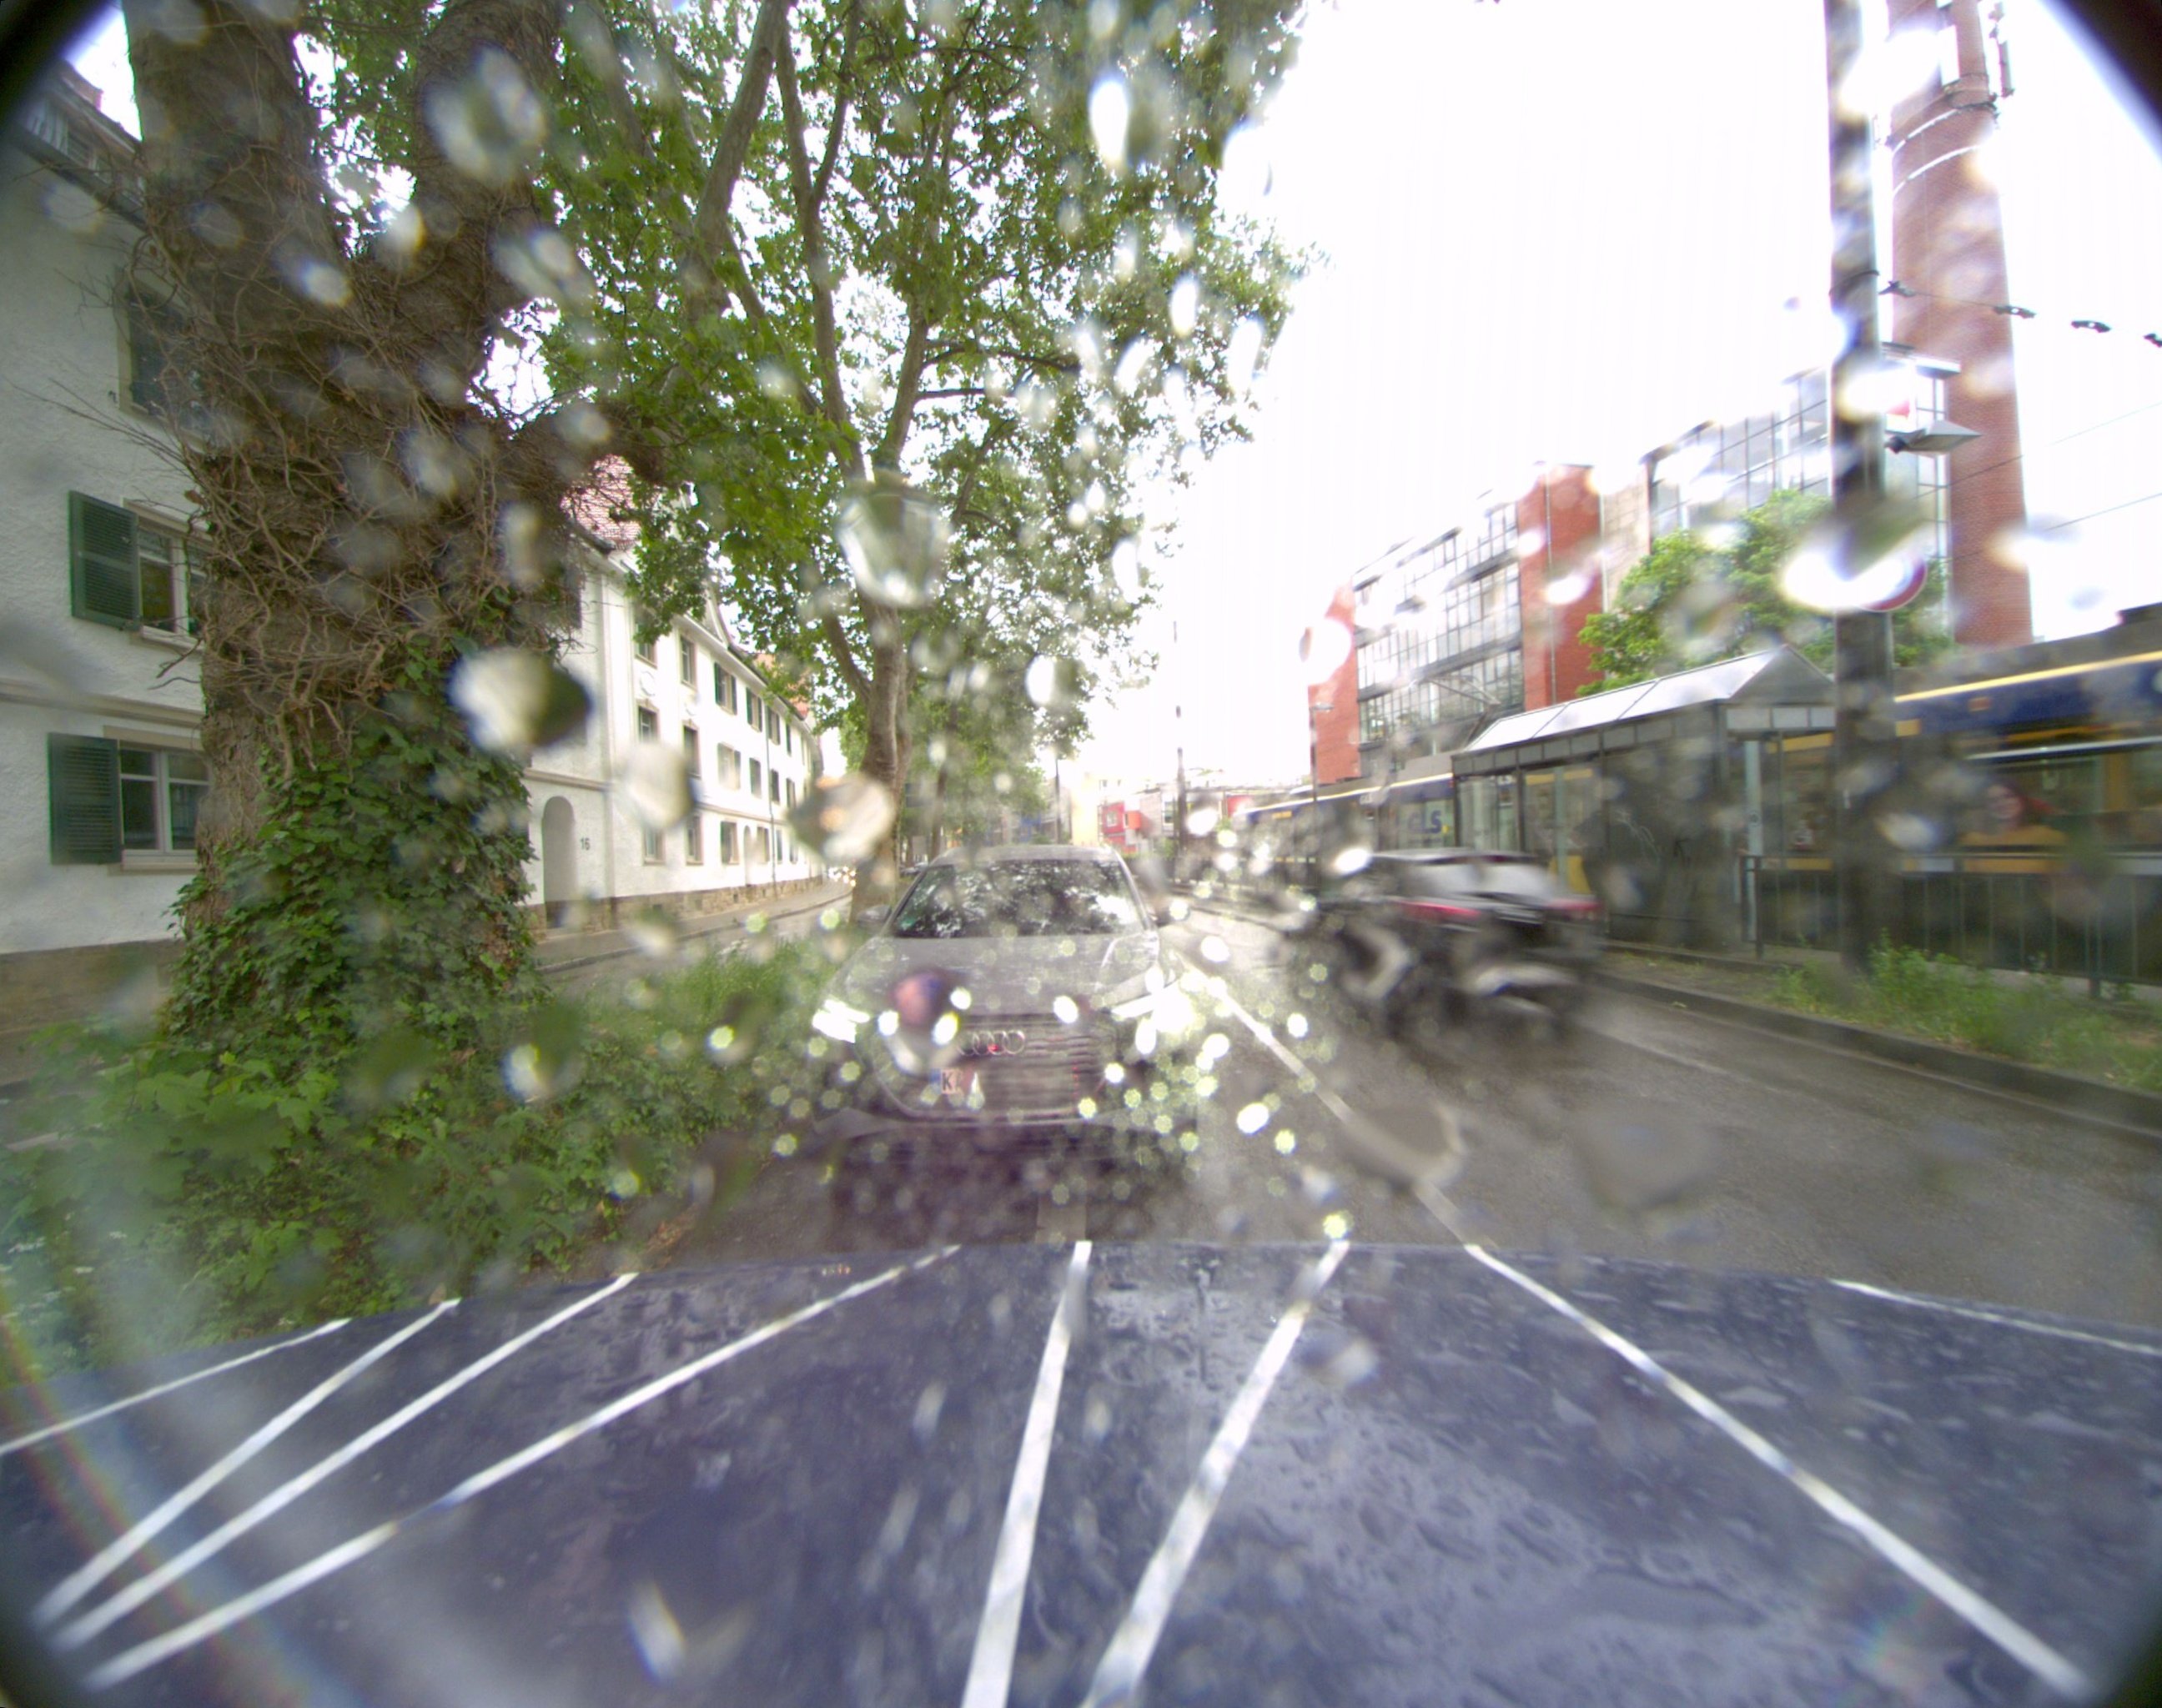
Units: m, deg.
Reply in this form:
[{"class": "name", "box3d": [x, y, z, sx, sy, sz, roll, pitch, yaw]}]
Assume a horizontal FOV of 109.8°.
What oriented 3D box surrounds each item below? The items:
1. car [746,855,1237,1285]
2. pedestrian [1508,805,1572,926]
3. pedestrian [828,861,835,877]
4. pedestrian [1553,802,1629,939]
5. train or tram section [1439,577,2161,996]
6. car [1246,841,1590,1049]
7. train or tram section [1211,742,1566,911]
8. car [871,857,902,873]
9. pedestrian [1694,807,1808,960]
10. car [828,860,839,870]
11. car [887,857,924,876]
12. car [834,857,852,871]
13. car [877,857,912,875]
[{"class": "car", "box3d": [-0.413, 0.871, 5.129, 1.917, 1.632, 4.106, -2, 0, -2]}, {"class": "pedestrian", "box3d": [6.800, 0.170, 11.287, 0.629, 1.738, 0.514, -2, 1, 9]}, {"class": "pedestrian", "box3d": [-28.938, 1.682, 88.181, 0.674, 1.811, 0.678, -3, 1, -18]}, {"class": "pedestrian", "box3d": [6.732, 0.215, 10.055, 0.629, 1.738, 0.564, -2, 1, 9]}, {"class": "train or tram section", "box3d": [10.071, -0.615, 9.360, 2.869, 3.525, 13.704, -2, 0, -9]}, {"class": "car", "box3d": [3.152, 0.724, 8.171, 1.756, 1.582, 4.234, -3, 0, 0]}, {"class": "train or tram section", "box3d": [7.922, -0.608, 23.842, 2.869, 3.525, 15.361, -2, 0, -8]}, {"class": "car", "box3d": [-26.680, 1.505, 104.369, 4.002, 2.002, 1.997, -2, 0, -17]}, {"class": "pedestrian", "box3d": [7.248, 0.317, 8.236, 0.798, 1.588, 0.506, 0, -2, -10]}, {"class": "car", "box3d": [-53.372, 2.424, 163.797, 2.001, 2.002, 3.993, -6, 1, -20]}, {"class": "car", "box3d": [-20.247, 1.471, 87.571, 4.002, 2.002, 1.997, -2, 0, -17]}, {"class": "car", "box3d": [-40.635, 1.674, 129.664, 2.199, 2.250, 5.401, -3, 0, -24]}, {"class": "car", "box3d": [-23.220, 1.506, 94.666, 4.002, 2.002, 1.997, -2, 0, -17]}]
